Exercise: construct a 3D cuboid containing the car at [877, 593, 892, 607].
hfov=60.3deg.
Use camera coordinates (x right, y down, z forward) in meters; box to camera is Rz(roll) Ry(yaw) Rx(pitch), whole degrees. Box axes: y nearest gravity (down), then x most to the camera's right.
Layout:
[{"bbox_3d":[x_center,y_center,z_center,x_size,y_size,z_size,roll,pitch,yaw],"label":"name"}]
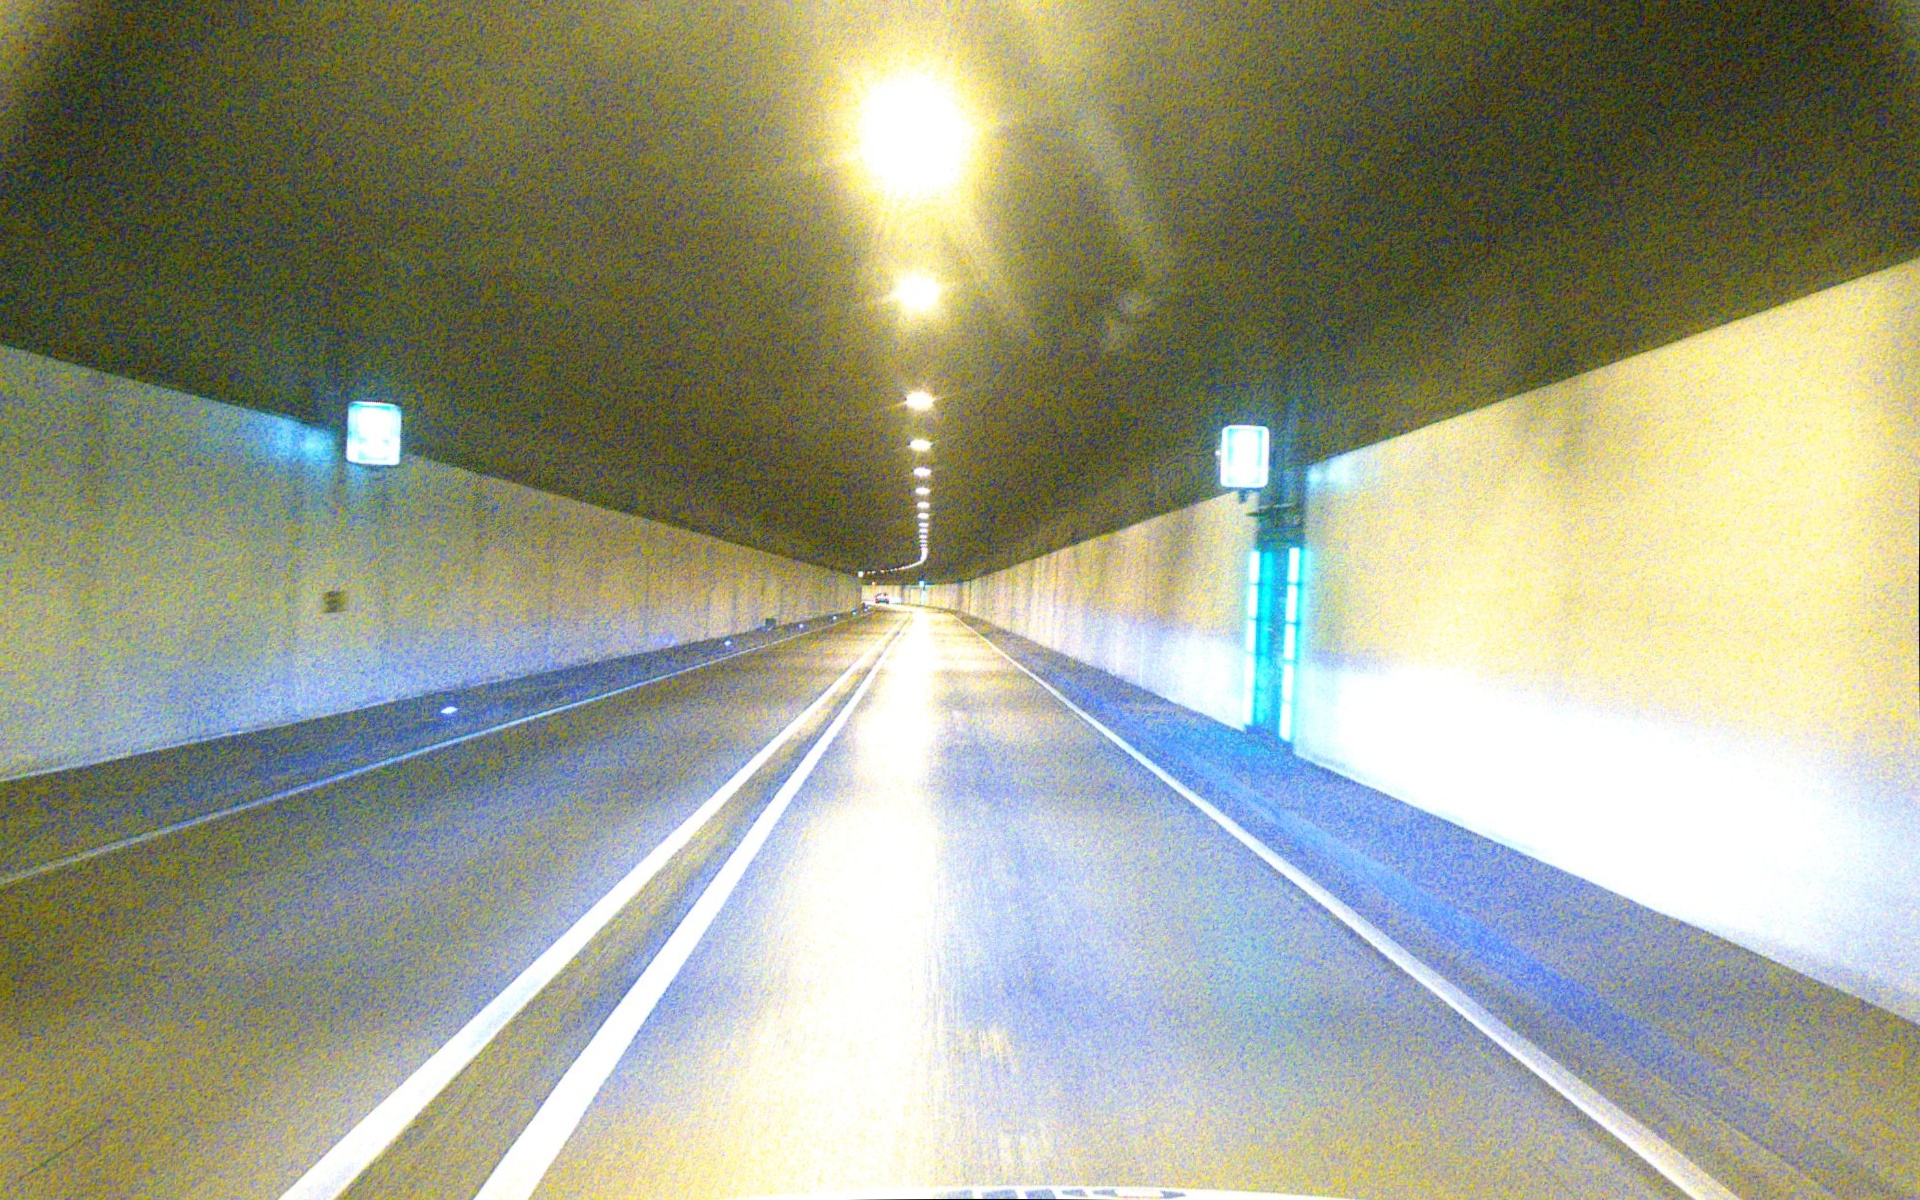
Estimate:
[{"bbox_3d":[-11.215,0.060,245.605,1.929,1.973,4.607,2,-1,-6],"label":"car"}]
